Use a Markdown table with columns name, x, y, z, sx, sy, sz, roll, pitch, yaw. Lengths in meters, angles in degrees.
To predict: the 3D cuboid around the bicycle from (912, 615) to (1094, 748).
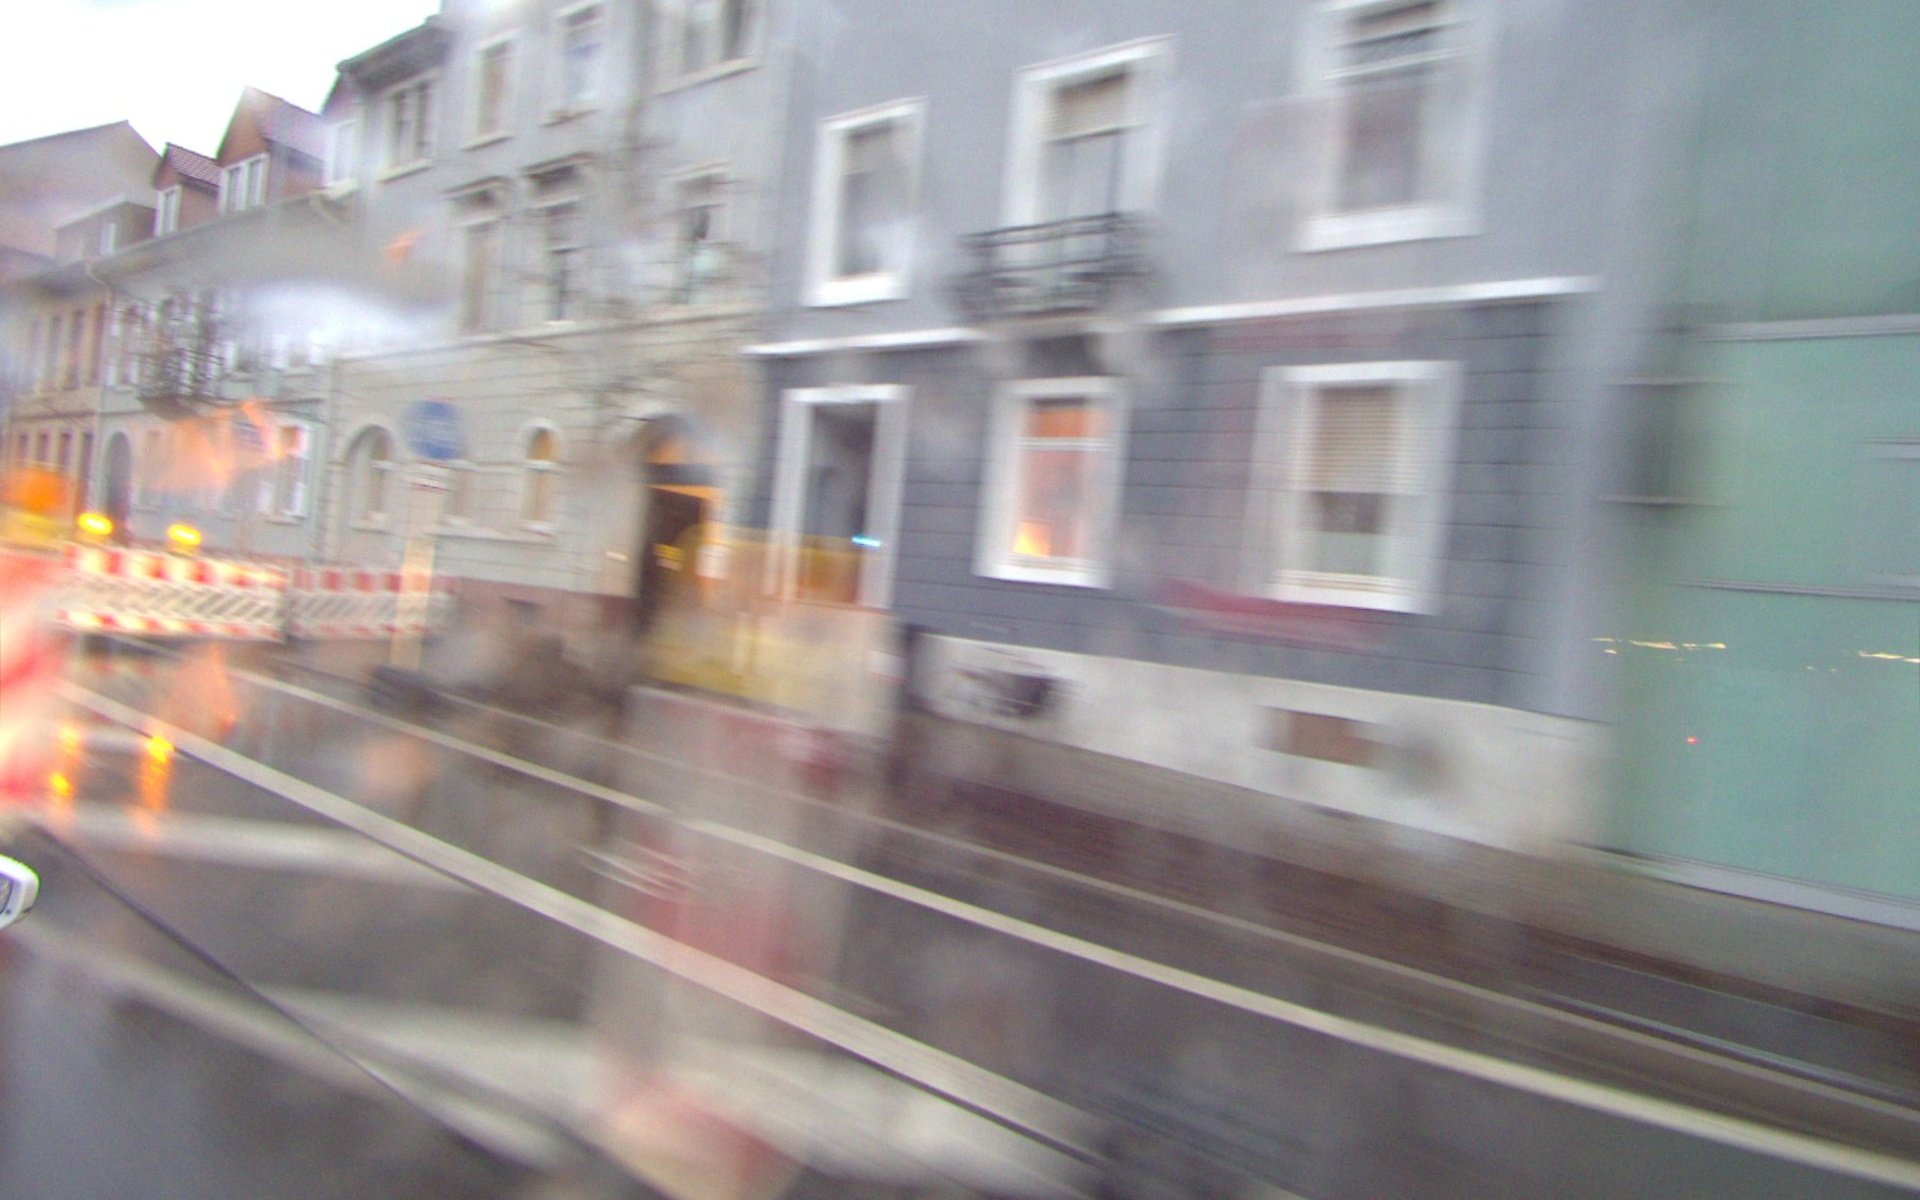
| name | x | y | z | sx | sy | sz | roll | pitch | yaw |
| --- | --- | --- | --- | --- | --- | --- | --- | --- | --- |
| bicycle | 0.462 | 0.870 | 11.309 | 1.874 | 1.238 | 0.682 | 5 | 2 | 33 |
